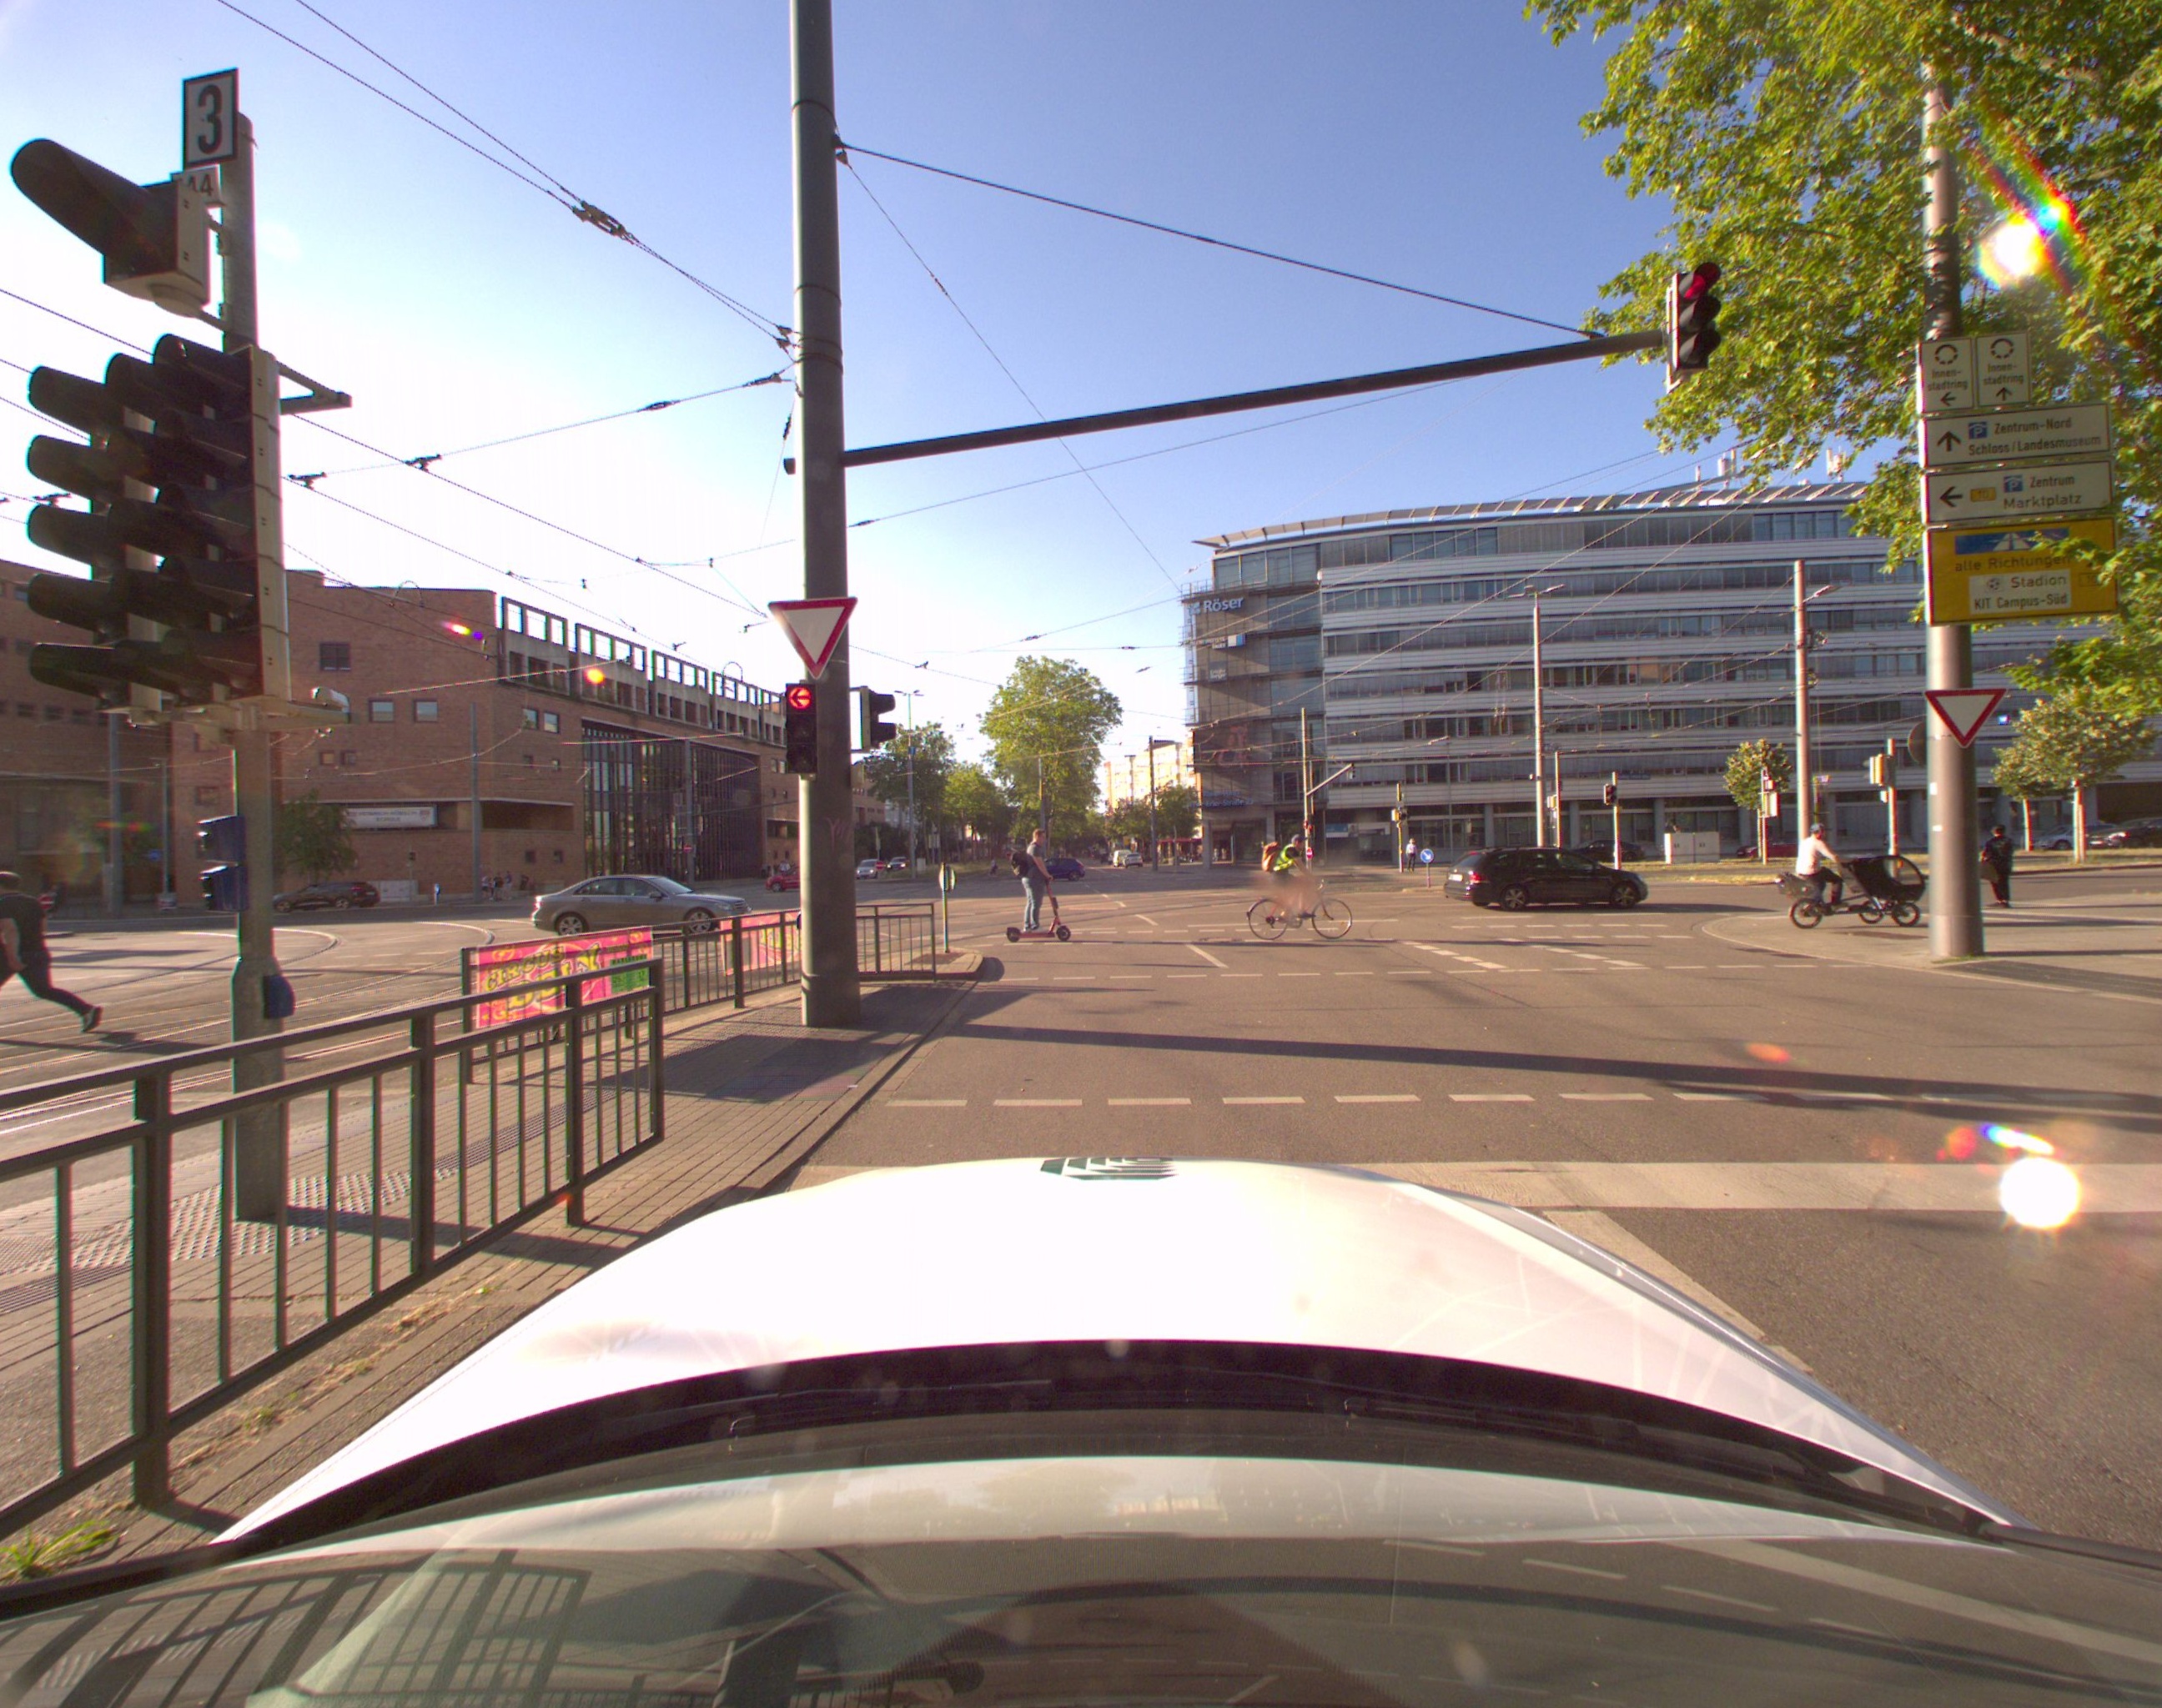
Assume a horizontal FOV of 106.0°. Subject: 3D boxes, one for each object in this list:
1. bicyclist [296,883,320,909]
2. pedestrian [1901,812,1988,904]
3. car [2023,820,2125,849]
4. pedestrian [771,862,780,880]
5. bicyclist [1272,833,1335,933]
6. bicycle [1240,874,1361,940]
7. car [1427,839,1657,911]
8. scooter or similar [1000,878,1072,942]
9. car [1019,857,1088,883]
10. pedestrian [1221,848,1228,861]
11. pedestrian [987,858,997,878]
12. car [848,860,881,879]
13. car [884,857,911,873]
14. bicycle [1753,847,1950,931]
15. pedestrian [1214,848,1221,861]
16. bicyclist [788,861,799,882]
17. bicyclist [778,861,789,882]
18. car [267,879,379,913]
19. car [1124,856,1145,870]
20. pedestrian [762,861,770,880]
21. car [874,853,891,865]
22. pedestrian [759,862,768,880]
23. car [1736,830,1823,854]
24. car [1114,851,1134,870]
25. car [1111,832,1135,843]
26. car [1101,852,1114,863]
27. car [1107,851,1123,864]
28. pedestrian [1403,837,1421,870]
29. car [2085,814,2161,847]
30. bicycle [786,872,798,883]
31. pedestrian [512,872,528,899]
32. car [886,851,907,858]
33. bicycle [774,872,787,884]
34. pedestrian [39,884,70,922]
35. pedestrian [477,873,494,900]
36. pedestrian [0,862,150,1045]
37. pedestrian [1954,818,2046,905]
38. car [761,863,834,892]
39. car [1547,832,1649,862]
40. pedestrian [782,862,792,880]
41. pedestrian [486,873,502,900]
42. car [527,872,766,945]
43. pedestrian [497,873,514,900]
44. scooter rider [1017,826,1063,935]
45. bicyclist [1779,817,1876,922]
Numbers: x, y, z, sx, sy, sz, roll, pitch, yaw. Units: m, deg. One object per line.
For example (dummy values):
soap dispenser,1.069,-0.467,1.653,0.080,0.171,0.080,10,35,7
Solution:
bicyclist,-42.337,2.319,44.599,0.822,1.366,0.397,-2,0,-21
pedestrian,17.447,0.083,16.480,0.839,1.820,0.871,-1,0,13
car,61.149,-1.162,50.195,3.970,1.611,1.761,-2,0,3
pedestrian,-30.508,1.672,81.310,0.519,1.779,0.547,-2,0,9
bicyclist,3.828,0.487,14.073,0.900,1.664,0.640,-2,0,4
bicycle,3.762,0.910,14.080,1.914,1.064,0.630,-1,0,4
car,10.868,0.461,19.444,4.370,1.517,2.000,-2,1,0
scooter or similar,-0.809,1.006,14.714,1.201,1.104,0.403,-2,0,4
car,-1.704,0.940,49.144,3.983,1.348,1.971,-2,0,-7
pedestrian,16.926,0.087,96.138,0.701,1.465,0.385,-2,0,11
pedestrian,-6.941,1.079,63.851,0.753,1.530,0.507,-1,0,-6
car,-18.429,1.324,69.470,1.990,1.508,3.994,-2,0,-4
car,-18.584,1.058,82.729,1.990,1.508,3.994,-2,0,-4
bicycle,13.009,0.577,13.839,2.144,1.226,1.075,-4,0,9
pedestrian,16.185,0.025,96.546,0.734,1.465,0.538,-2,0,11
bicyclist,-23.509,1.403,66.612,0.592,1.675,0.788,-2,0,-4
bicyclist,-24.277,1.405,66.375,0.592,1.675,0.788,-2,0,-4
car,-39.143,2.154,42.142,3.856,1.507,1.791,-2,0,-7
car,5.429,0.868,82.907,1.986,1.332,4.002,-2,0,2
pedestrian,-31.466,1.666,81.355,0.487,1.810,0.547,-2,0,9
car,-26.486,0.688,108.772,1.906,1.510,3.987,0,-1,-9
pedestrian,-31.281,1.658,80.240,0.487,1.810,0.547,-2,0,9
car,44.887,-0.750,52.386,3.970,1.398,1.761,-2,0,3
car,4.740,0.673,89.769,1.986,1.991,4.002,-2,0,2
car,7.273,-2.813,140.841,3.732,1.750,1.789,0,-1,16
car,4.136,0.585,126.843,1.986,1.662,4.002,-2,0,2
car,4.386,0.440,105.105,1.986,1.662,4.002,-2,0,2
pedestrian,17.276,-0.021,42.516,0.715,1.681,0.558,-1,0,9
car,56.166,-1.260,42.931,3.973,1.662,2.000,-2,0,1
bicycle,-23.599,1.917,66.553,0.512,0.881,1.835,-2,0,-6
pedestrian,-35.485,1.973,51.526,0.622,1.650,0.538,-2,0,-2
car,-39.545,0.145,174.524,4.011,1.552,1.592,0,-1,-29
bicycle,-24.420,1.967,66.267,0.512,0.881,1.835,-2,0,-6
pedestrian,-45.760,2.178,36.310,0.542,1.613,0.613,0,1,-3
pedestrian,-37.505,2.029,51.261,0.622,1.650,0.538,-2,0,-3
pedestrian,-11.140,1.017,8.666,1.207,1.822,1.040,-2,-1,-5
pedestrian,18.335,0.145,16.278,0.840,1.681,0.870,-1,0,9
car,-16.028,1.311,46.234,3.597,1.466,1.789,-2,0,-10
car,27.632,-0.374,43.614,4.219,1.392,1.799,-2,0,6
pedestrian,-29.319,1.689,81.227,0.637,1.810,0.547,-2,0,9
pedestrian,-35.313,1.959,48.984,0.538,1.613,0.575,-2,0,33
car,-9.874,1.207,18.839,4.371,1.379,1.997,-2,0,-4
pedestrian,-35.757,2.002,50.600,0.622,1.650,0.537,-2,0,-5
scooter rider,-0.734,0.473,14.702,0.660,1.896,0.737,-2,0,4
bicyclist,12.677,0.258,13.851,0.898,1.681,0.693,-4,-1,9
